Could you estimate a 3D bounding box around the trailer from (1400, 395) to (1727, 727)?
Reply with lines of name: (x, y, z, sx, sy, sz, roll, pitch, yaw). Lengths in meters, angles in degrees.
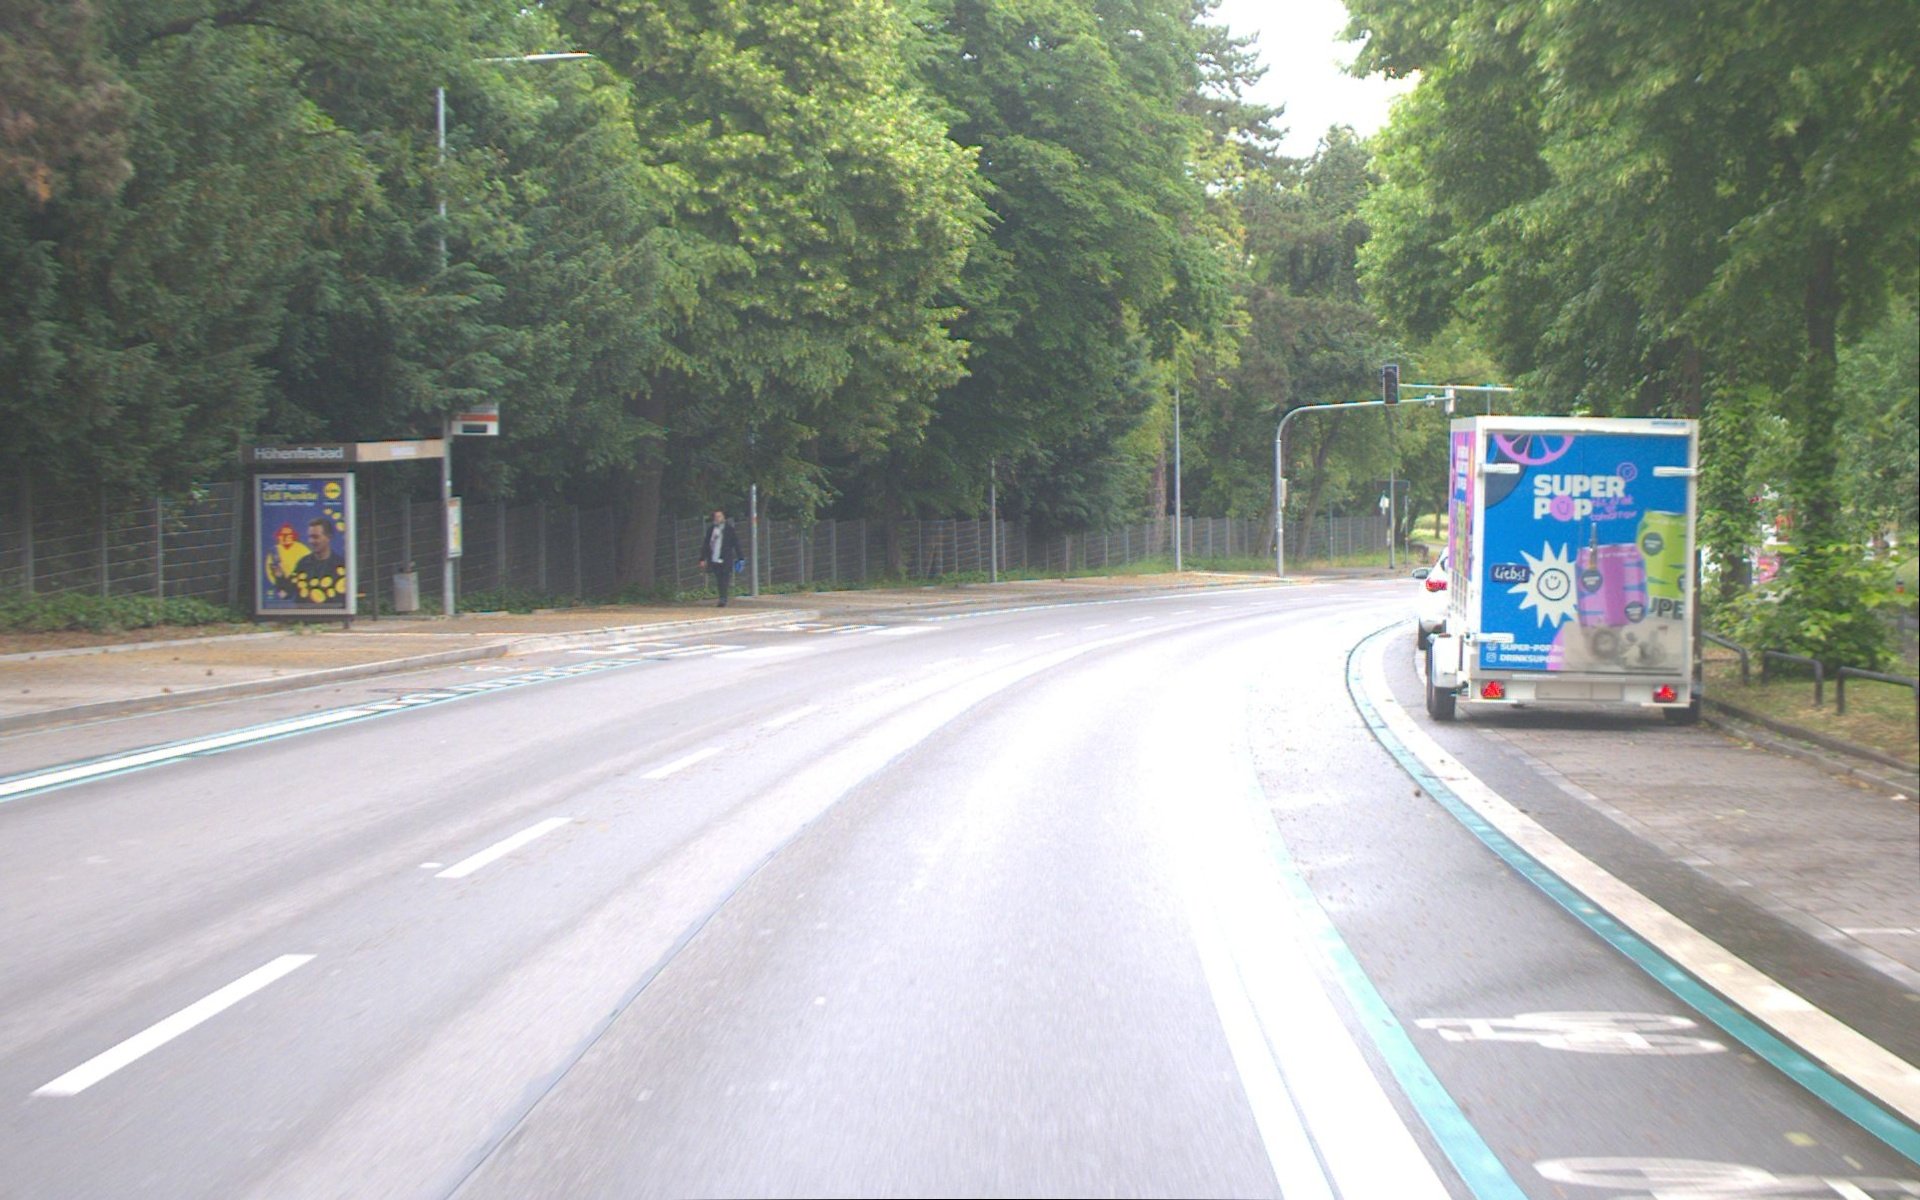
trailer: (5.253, -0.375, 30.680, 2.316, 2.663, 5.376, 1, 1, 4)

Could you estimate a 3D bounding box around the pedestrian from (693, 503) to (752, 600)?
pedestrian: (-4.309, -0.878, 62.370, 0.887, 1.727, 1.146, 1, 1, 5)

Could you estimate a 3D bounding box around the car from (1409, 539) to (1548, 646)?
car: (7.568, -0.142, 49.972, 1.860, 1.423, 4.648, 2, 1, 9)
